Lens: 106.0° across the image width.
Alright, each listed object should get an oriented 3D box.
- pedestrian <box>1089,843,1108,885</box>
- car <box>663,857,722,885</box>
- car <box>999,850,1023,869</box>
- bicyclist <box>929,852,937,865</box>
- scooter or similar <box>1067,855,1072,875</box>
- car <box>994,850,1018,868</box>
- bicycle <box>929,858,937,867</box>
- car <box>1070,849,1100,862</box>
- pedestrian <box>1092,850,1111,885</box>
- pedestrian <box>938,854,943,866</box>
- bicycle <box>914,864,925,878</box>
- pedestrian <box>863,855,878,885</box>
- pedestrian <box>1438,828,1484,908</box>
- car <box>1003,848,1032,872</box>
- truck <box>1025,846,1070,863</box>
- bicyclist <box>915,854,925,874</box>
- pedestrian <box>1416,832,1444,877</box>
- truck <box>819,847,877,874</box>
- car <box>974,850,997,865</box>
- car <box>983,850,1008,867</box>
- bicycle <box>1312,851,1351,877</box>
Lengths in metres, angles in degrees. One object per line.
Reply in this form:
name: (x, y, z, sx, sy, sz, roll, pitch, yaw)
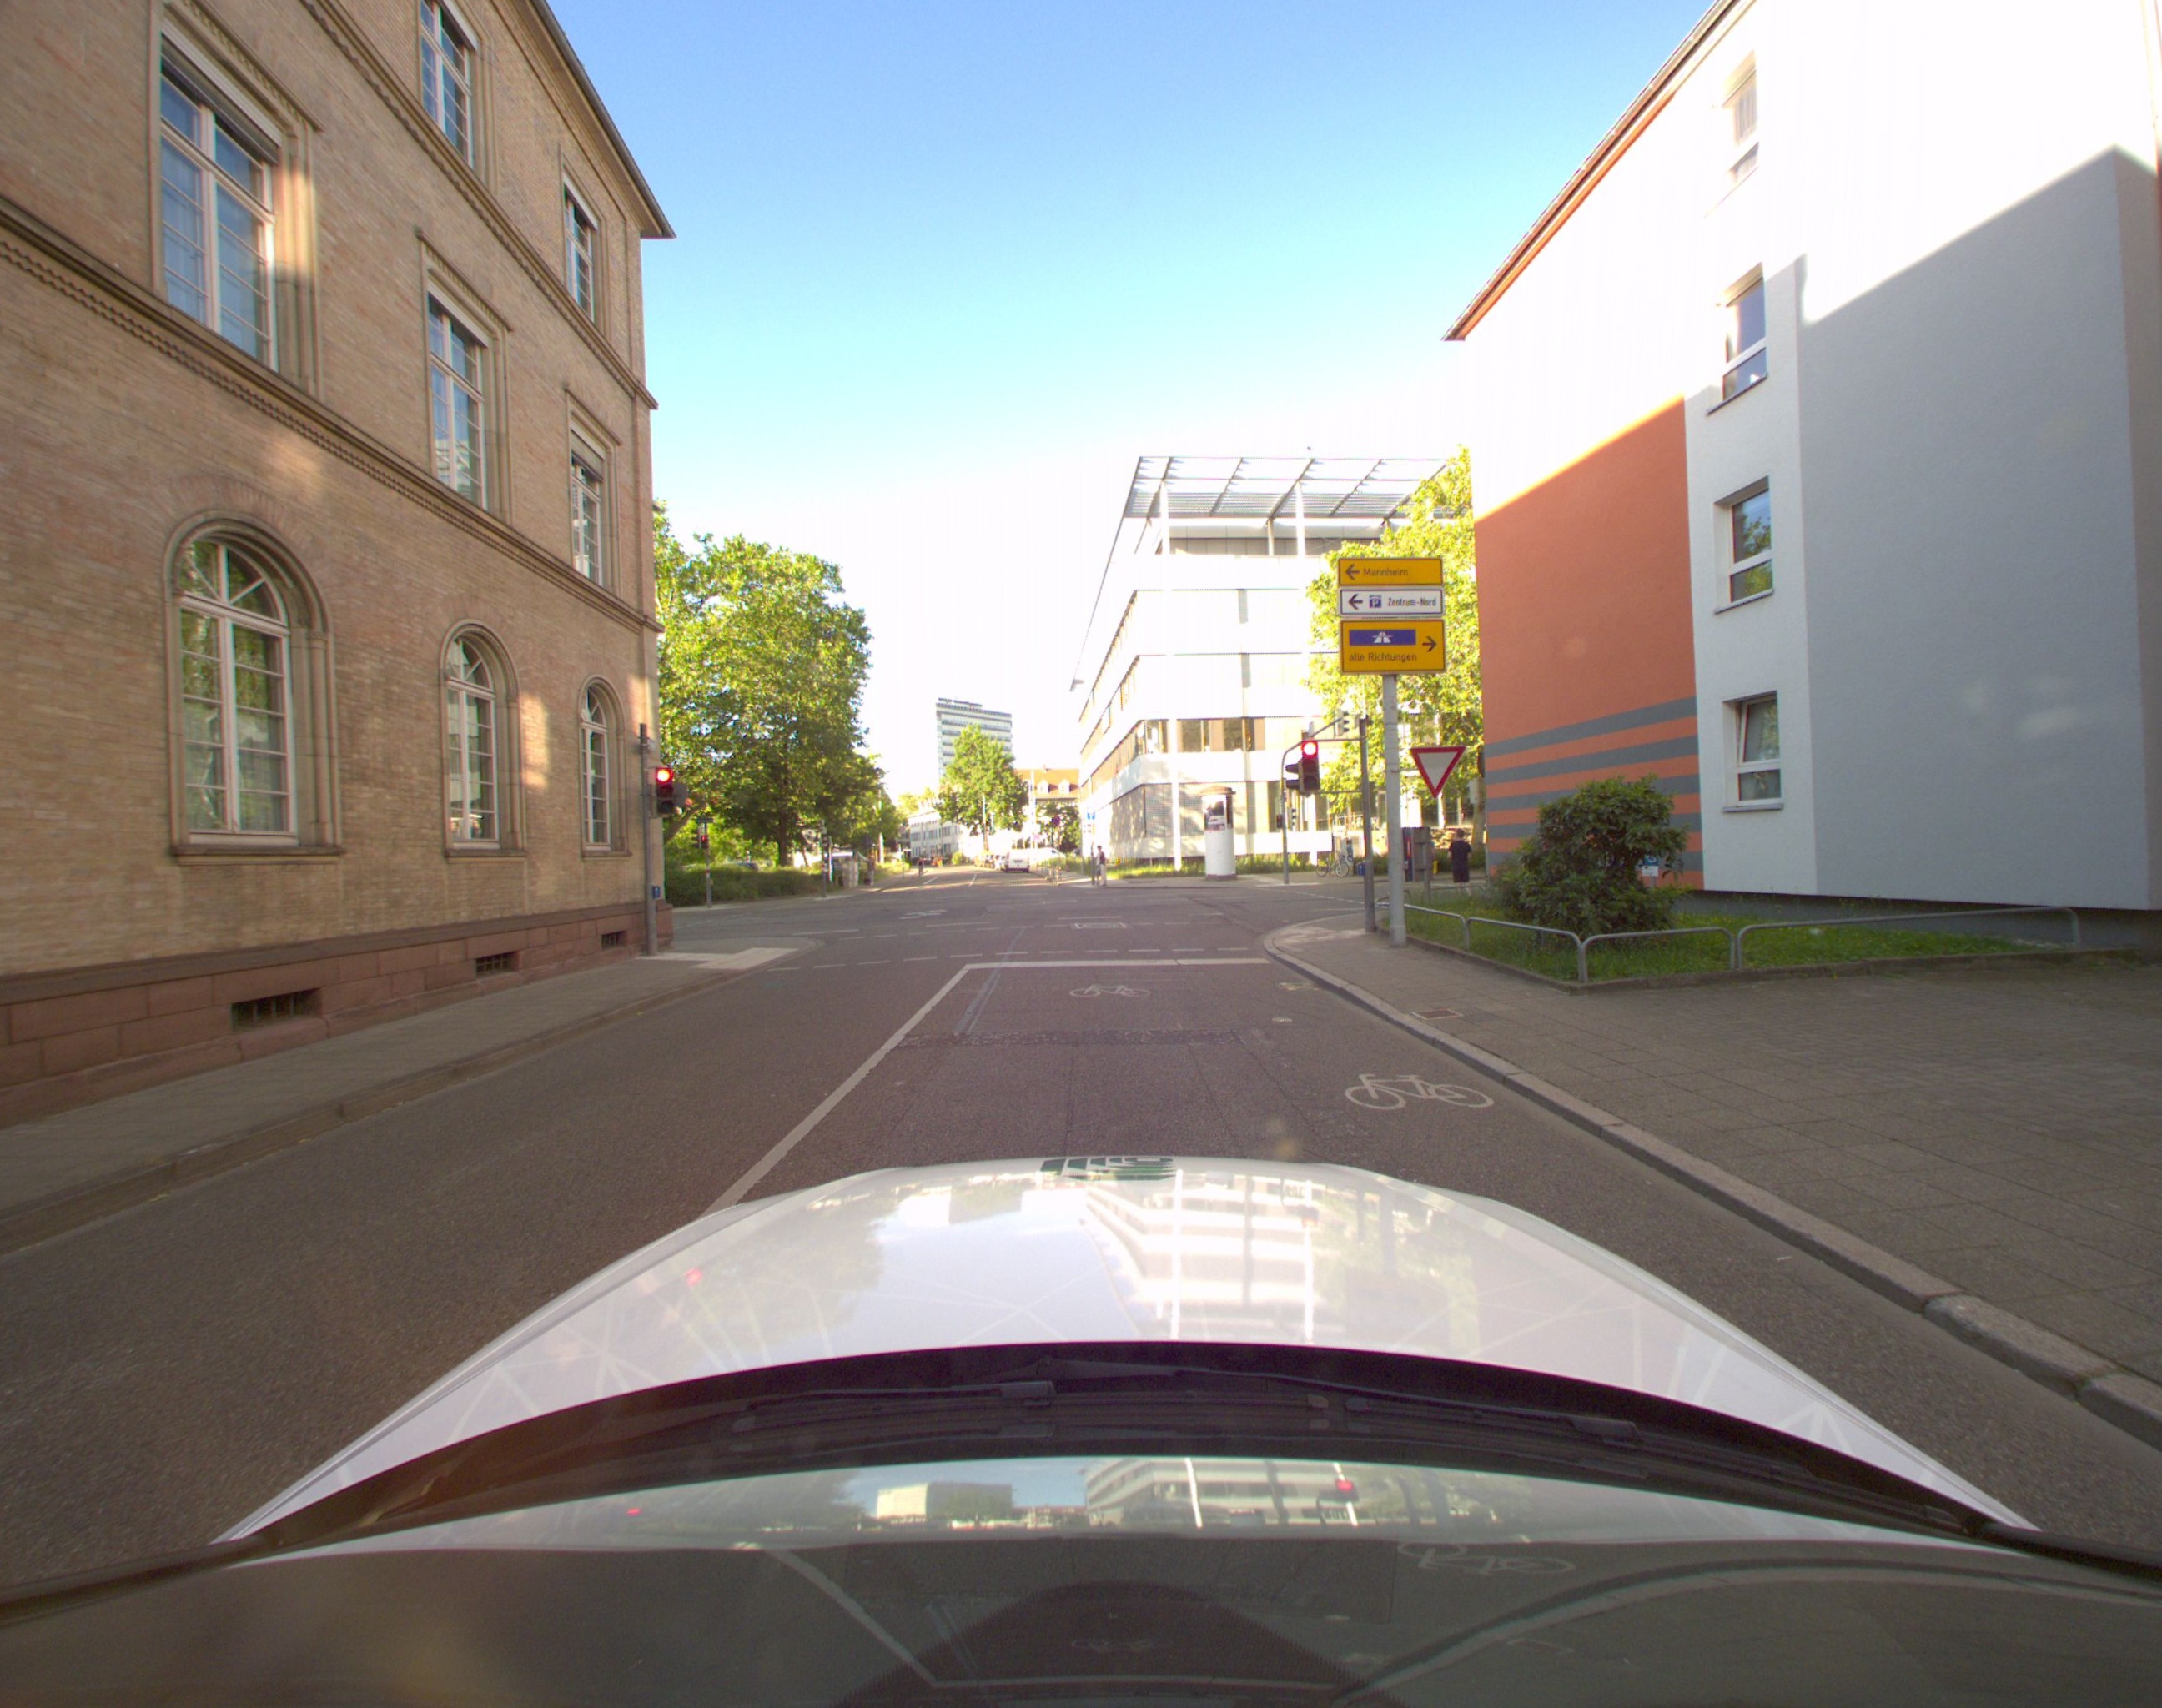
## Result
pedestrian: (0.826, 0.453, 37.926, 0.555, 1.850, 0.680, -5, 1, 18)
car: (-37.176, 1.615, 78.112, 4.551, 2.391, 2.069, -3, 0, -7)
car: (-6.341, 0.508, 73.264, 1.887, 1.555, 4.403, -2, 1, -8)
bicyclist: (-18.509, 0.551, 101.674, 0.865, 1.515, 1.016, -5, 0, -9)
scooter or similar: (-0.834, 0.764, 58.741, 0.329, 1.424, 1.333, 0, -1, -4)
car: (-7.275, 0.483, 78.662, 1.889, 1.555, 4.398, -2, 1, -11)
bicycle: (-18.474, 1.049, 101.656, 0.865, 1.009, 2.407, -5, 0, -8)
car: (0.499, 0.182, 104.425, 3.563, 1.546, 1.549, -2, 0, -17)
pedestrian: (0.918, 0.611, 37.317, 0.561, 1.540, 0.673, -5, 1, -16)
pedestrian: (-18.533, 0.829, 107.277, 0.435, 1.607, 0.489, -2, 0, -24)
bicycle: (-12.178, 1.270, 61.544, 0.615, 0.969, 1.837, -3, 0, -7)
pedestrian: (-12.451, 0.957, 48.198, 0.703, 1.723, 0.952, -3, 0, -9)
pedestrian: (8.954, 0.309, 19.212, 0.704, 1.840, 0.837, 0, 0, 1)
car: (-5.109, 0.453, 65.017, 2.084, 1.795, 4.403, -2, 1, -8)
truck: (-4.252, 0.078, 103.354, 5.351, 2.013, 1.988, -2, 0, -17)
bicyclist: (-12.199, 0.750, 61.558, 0.615, 1.532, 0.901, -3, 0, -7)
pedestrian: (14.581, 0.028, 34.061, 0.834, 1.840, 0.707, 0, 0, -8)
truck: (-21.616, 0.587, 75.822, 4.825, 2.399, 2.082, -2, 0, -8)
car: (-11.283, 0.431, 95.957, 1.893, 1.655, 4.390, -2, 1, -16)
car: (-9.033, 0.439, 85.959, 1.893, 1.655, 4.390, -2, 1, -16)
bicycle: (11.023, 0.429, 35.907, 0.510, 1.049, 1.670, -4, 3, -33)
